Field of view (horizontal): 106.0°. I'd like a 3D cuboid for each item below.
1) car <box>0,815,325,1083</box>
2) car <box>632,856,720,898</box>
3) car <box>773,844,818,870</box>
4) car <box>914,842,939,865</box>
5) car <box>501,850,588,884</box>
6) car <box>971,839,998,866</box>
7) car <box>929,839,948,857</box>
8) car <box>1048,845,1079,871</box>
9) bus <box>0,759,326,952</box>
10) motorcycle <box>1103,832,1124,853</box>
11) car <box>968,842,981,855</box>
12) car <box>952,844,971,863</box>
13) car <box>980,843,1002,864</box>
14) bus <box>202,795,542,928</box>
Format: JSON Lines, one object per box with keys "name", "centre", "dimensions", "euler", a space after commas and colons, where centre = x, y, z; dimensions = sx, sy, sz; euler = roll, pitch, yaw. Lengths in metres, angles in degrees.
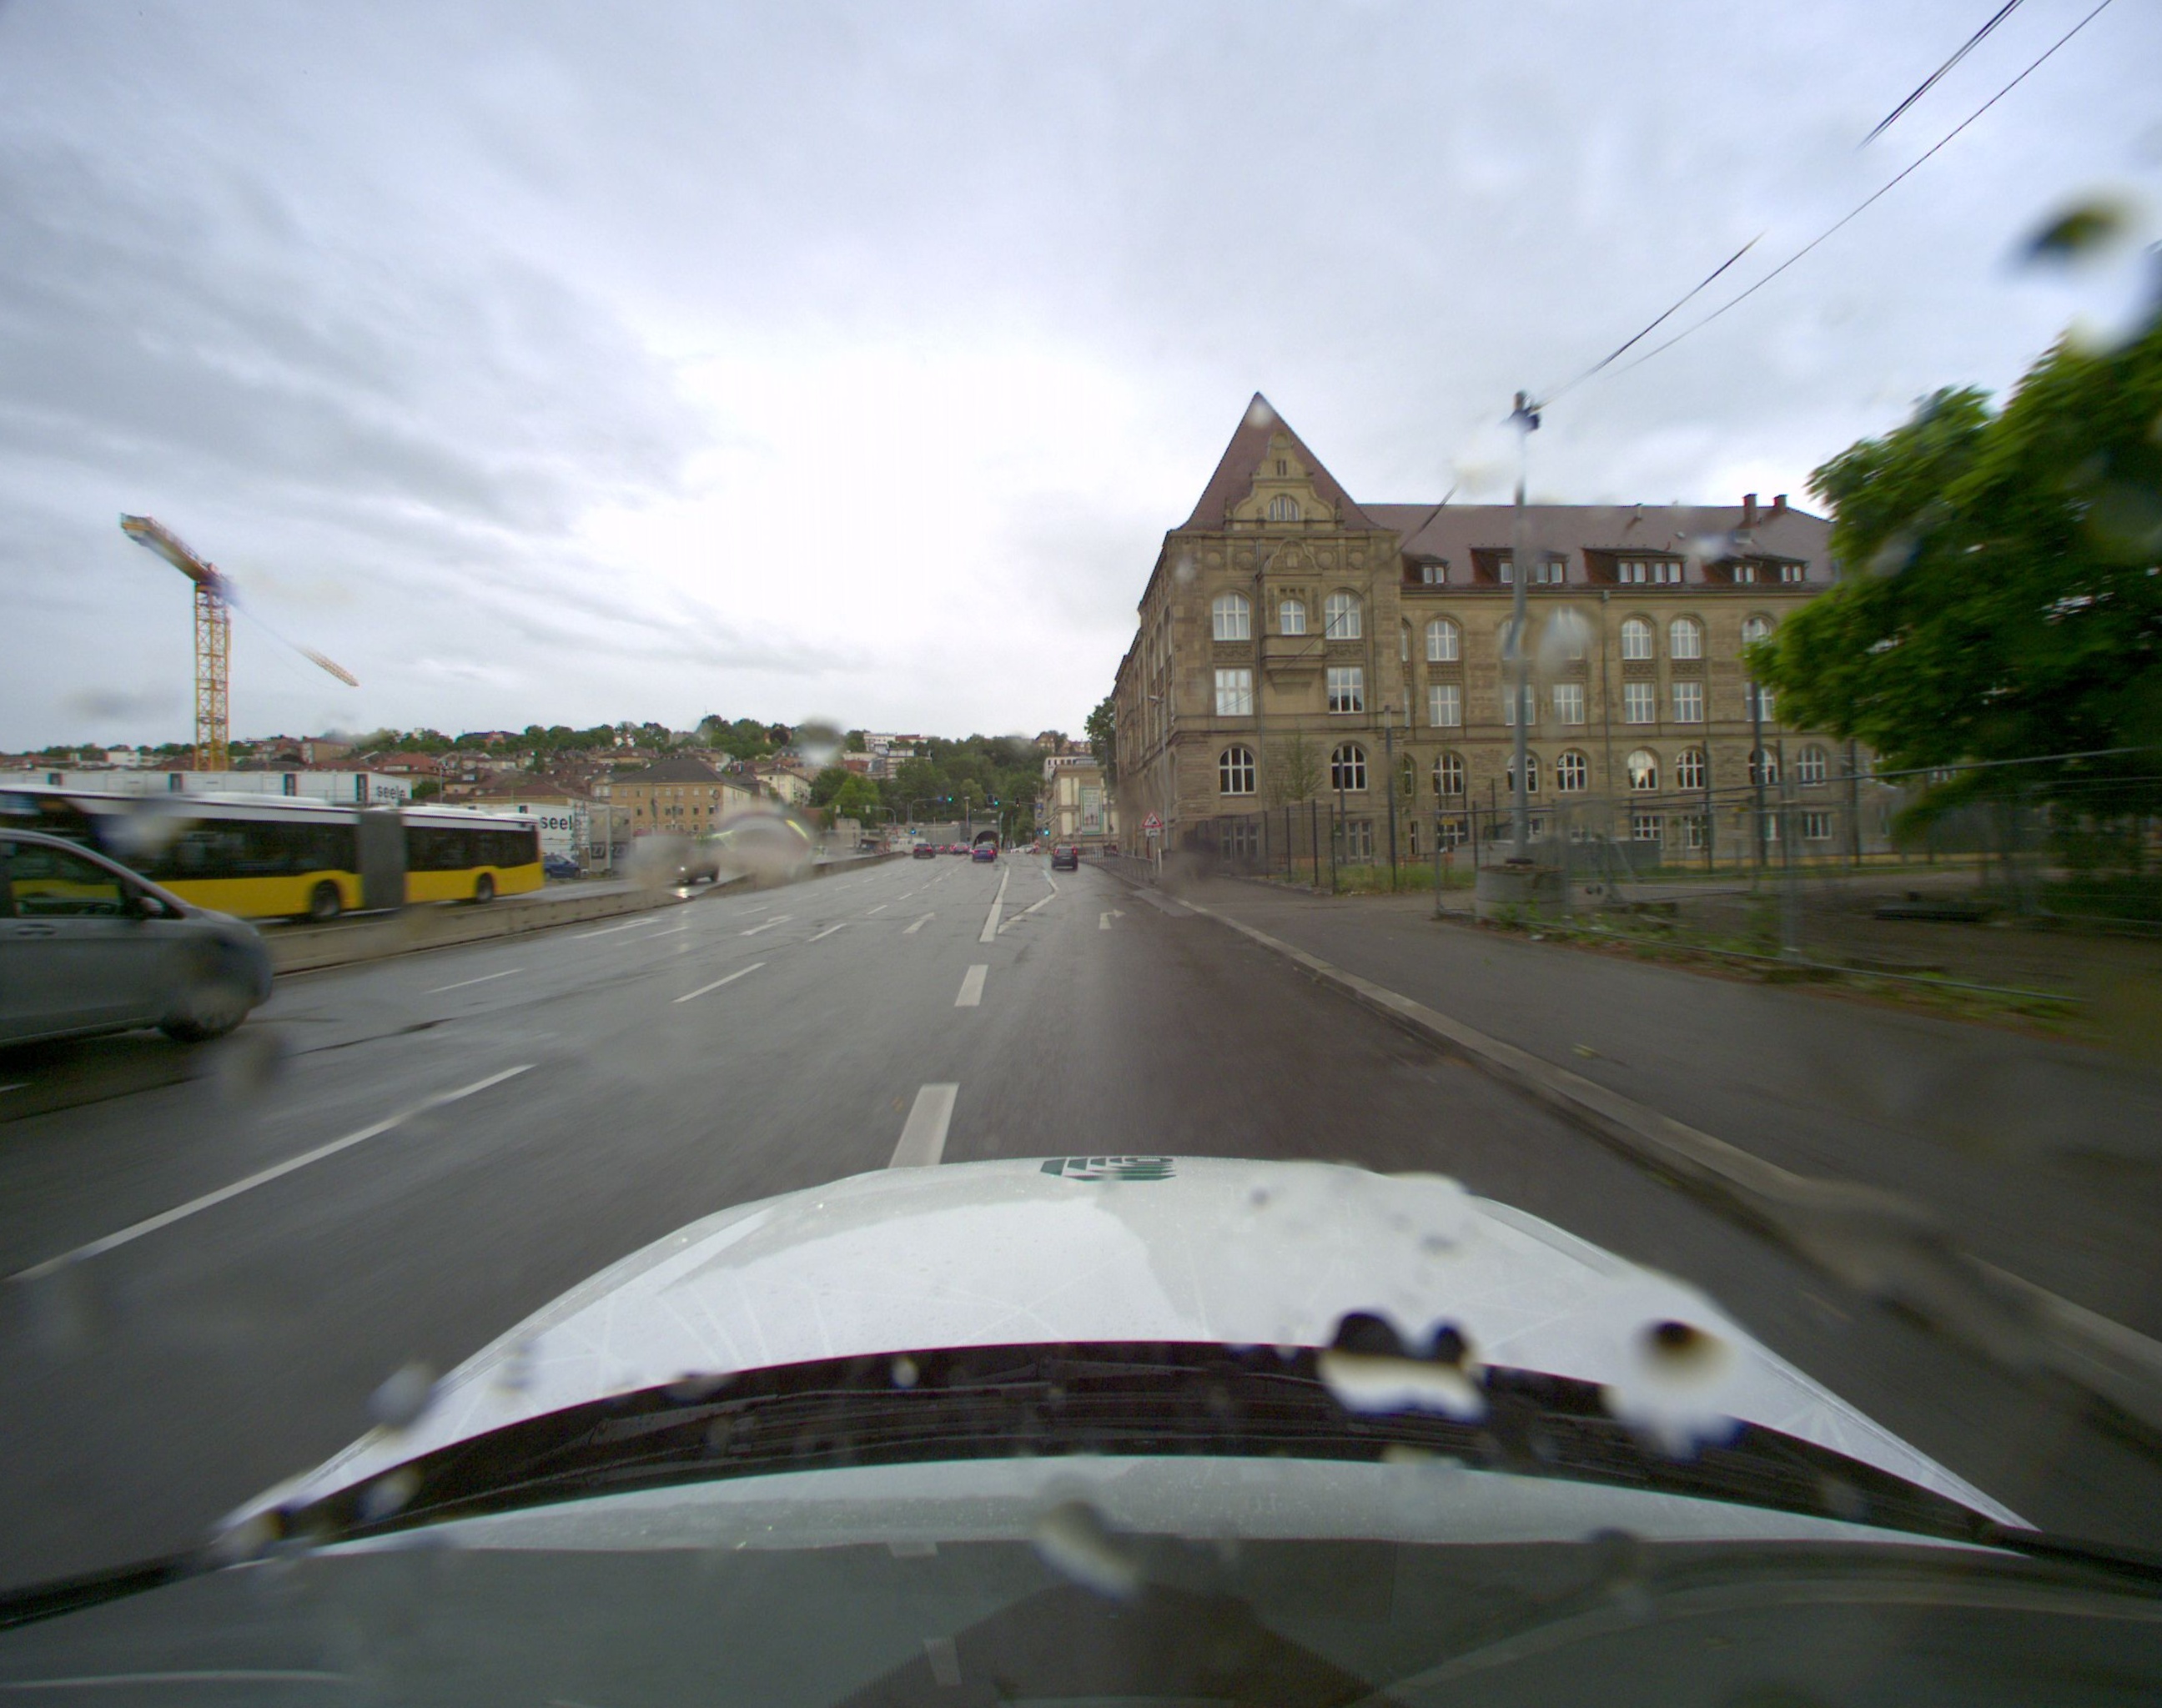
{"name": "car", "centre": [-8.471, 0.664, 5.518], "dimensions": [1.990, 1.856, 5.348], "euler": [0, -1, -5]}
{"name": "car", "centre": [-18.158, 1.030, 36.790], "dimensions": [2.038, 1.662, 4.919], "euler": [-2, -1, -8]}
{"name": "car", "centre": [-21.115, 0.271, 60.383], "dimensions": [1.992, 1.756, 5.285], "euler": [-2, -1, -7]}
{"name": "car", "centre": [-14.912, -0.019, 78.791], "dimensions": [2.014, 2.014, 3.991], "euler": [-2, -1, -6]}
{"name": "car", "centre": [-28.162, 0.634, 42.932], "dimensions": [1.988, 1.621, 3.997], "euler": [-2, 1, -2]}
{"name": "car", "centre": [-8.204, -0.107, 69.234], "dimensions": [2.102, 2.050, 3.991], "euler": [-2, -1, -6]}
{"name": "car", "centre": [-18.521, -0.761, 106.039], "dimensions": [1.989, 2.014, 3.995], "euler": [-2, -1, -3]}
{"name": "car", "centre": [-1.214, 0.290, 53.802], "dimensions": [1.809, 1.527, 3.994], "euler": [-3, -1, -4]}
{"name": "bus", "centre": [-19.443, 0.093, 15.366], "dimensions": [2.802, 3.184, 8.789], "euler": [-2, 0, -6]}
{"name": "motorcycle", "centre": [3.185, -1.157, 80.121], "dimensions": [1.791, 2.013, 3.810], "euler": [-2, 1, -2]}
{"name": "car", "centre": [-17.213, -0.908, 131.429], "dimensions": [1.993, 2.014, 3.987], "euler": [-2, -1, -9]}
{"name": "car", "centre": [-13.927, -0.043, 94.910], "dimensions": [2.049, 2.014, 3.990], "euler": [-2, -1, -7]}
{"name": "car", "centre": [-9.092, -0.050, 82.453], "dimensions": [1.770, 2.014, 3.999], "euler": [-2, -1, 0]}
{"name": "bus", "centre": [-20.213, 0.204, 24.340], "dimensions": [2.699, 3.151, 9.133], "euler": [-2, 0, -5]}
